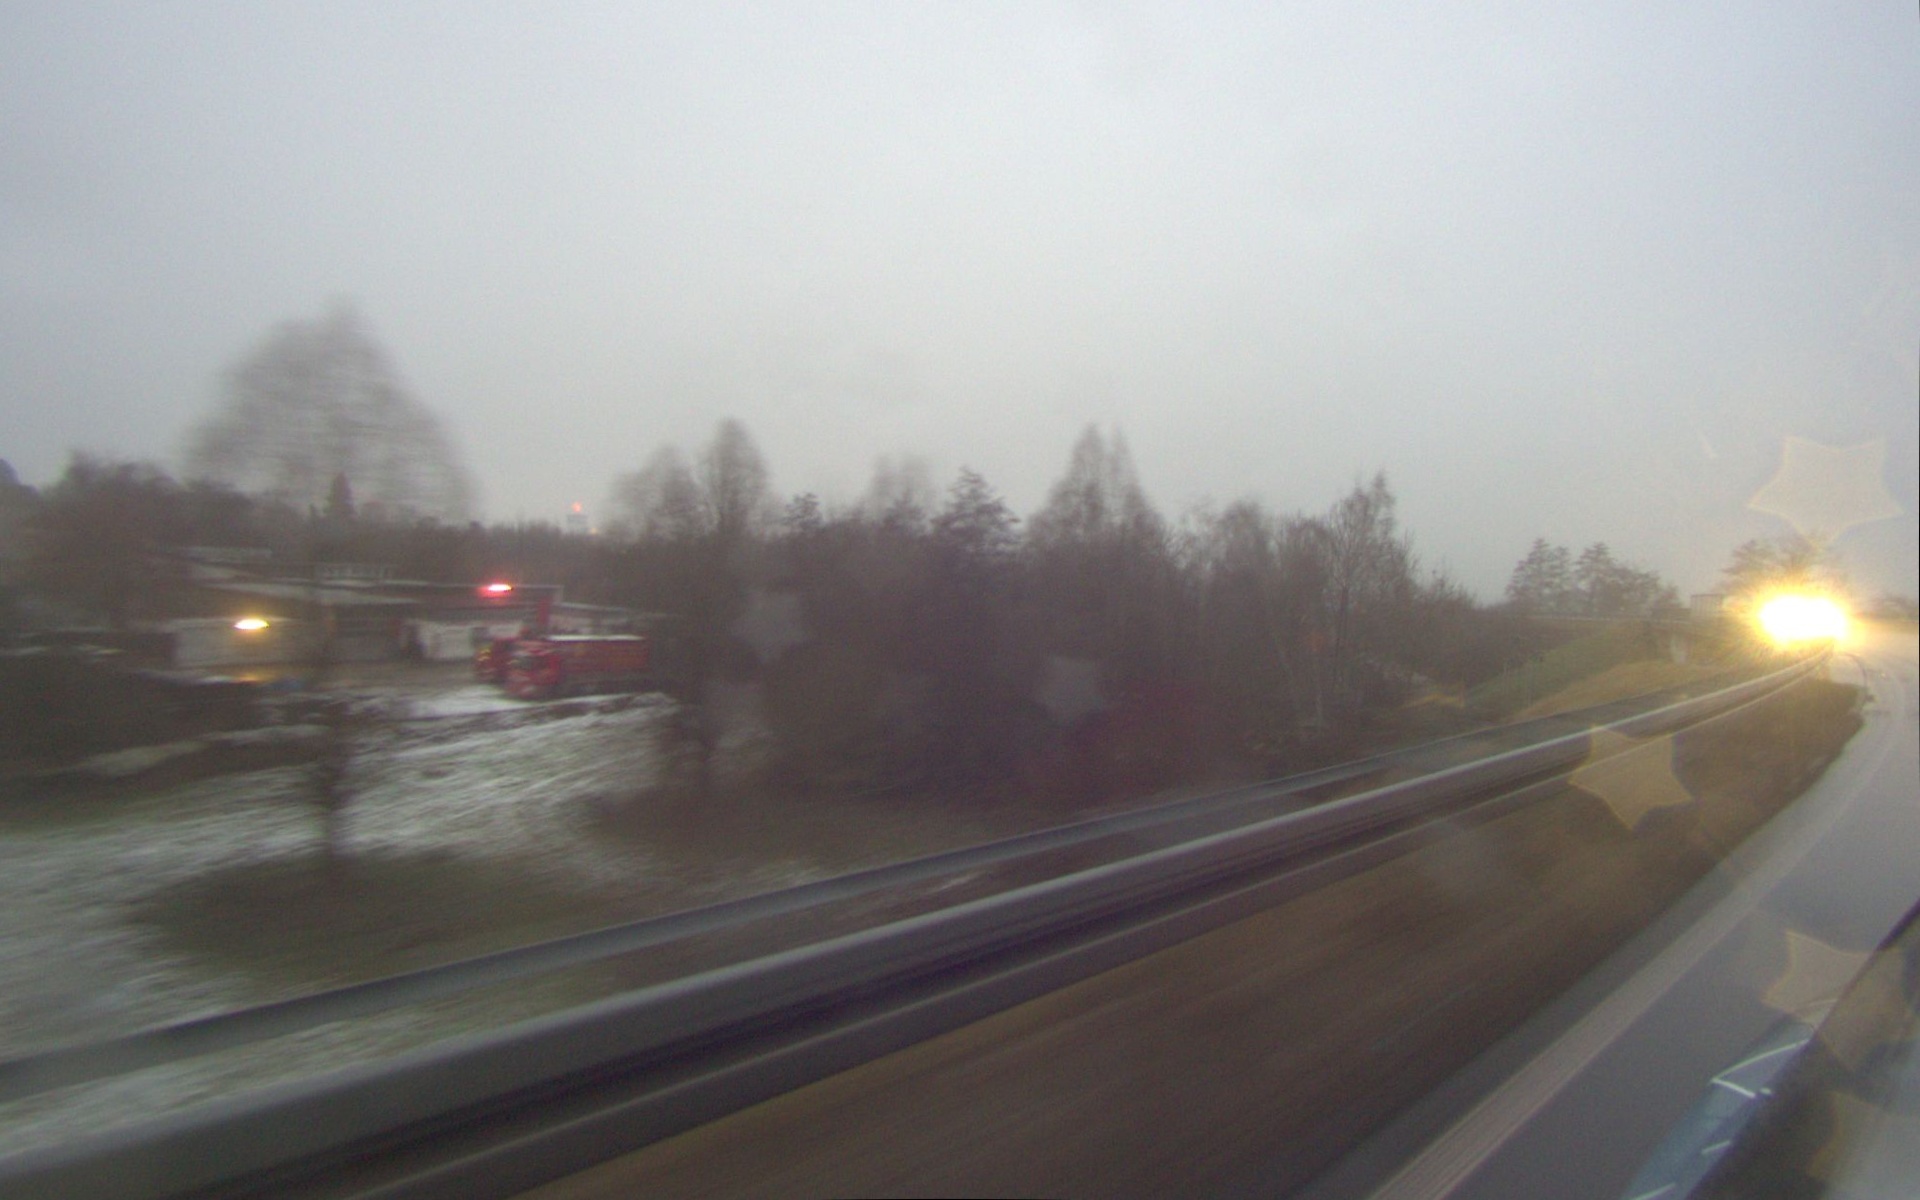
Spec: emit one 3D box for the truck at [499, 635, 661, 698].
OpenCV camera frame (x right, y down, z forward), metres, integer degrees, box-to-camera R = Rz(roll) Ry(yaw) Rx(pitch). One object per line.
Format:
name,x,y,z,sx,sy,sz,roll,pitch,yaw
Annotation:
truck,-23.974,4.093,64.601,2.775,3.273,10.033,1,1,33

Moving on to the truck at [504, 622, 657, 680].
truck,-25.384,3.310,68.326,2.775,3.273,10.033,1,1,33

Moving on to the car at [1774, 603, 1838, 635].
car,48.211,1.048,57.773,2.089,1.594,4.744,4,2,32
